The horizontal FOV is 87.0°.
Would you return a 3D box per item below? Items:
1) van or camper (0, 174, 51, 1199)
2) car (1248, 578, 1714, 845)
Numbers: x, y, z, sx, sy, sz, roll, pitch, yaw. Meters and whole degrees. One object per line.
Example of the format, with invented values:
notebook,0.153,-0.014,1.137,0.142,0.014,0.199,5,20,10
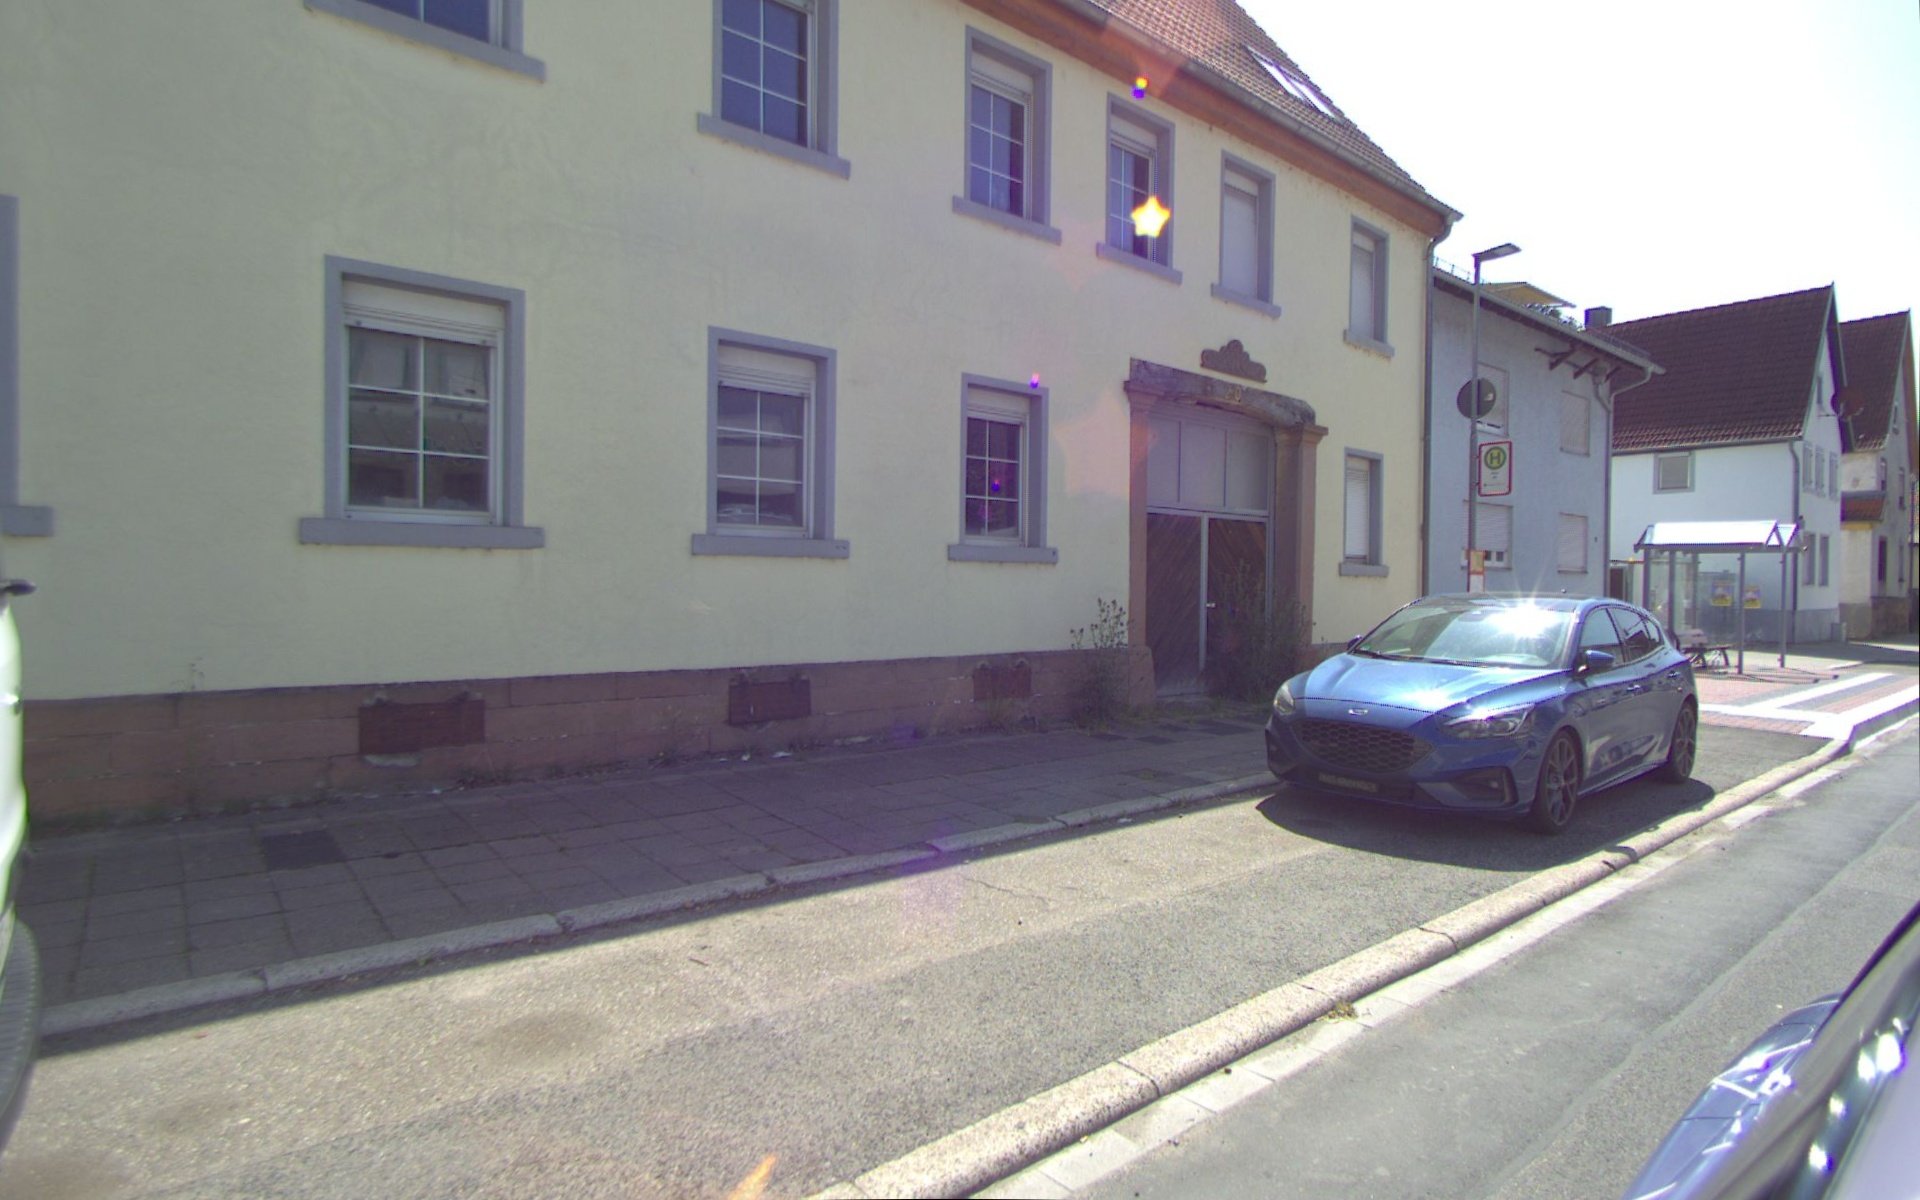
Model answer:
van or camper,-4.043,0.341,0.520,5.253,1.978,1.997,0,1,-41
car,3.976,0.593,7.437,3.916,1.445,1.731,0,1,-41
